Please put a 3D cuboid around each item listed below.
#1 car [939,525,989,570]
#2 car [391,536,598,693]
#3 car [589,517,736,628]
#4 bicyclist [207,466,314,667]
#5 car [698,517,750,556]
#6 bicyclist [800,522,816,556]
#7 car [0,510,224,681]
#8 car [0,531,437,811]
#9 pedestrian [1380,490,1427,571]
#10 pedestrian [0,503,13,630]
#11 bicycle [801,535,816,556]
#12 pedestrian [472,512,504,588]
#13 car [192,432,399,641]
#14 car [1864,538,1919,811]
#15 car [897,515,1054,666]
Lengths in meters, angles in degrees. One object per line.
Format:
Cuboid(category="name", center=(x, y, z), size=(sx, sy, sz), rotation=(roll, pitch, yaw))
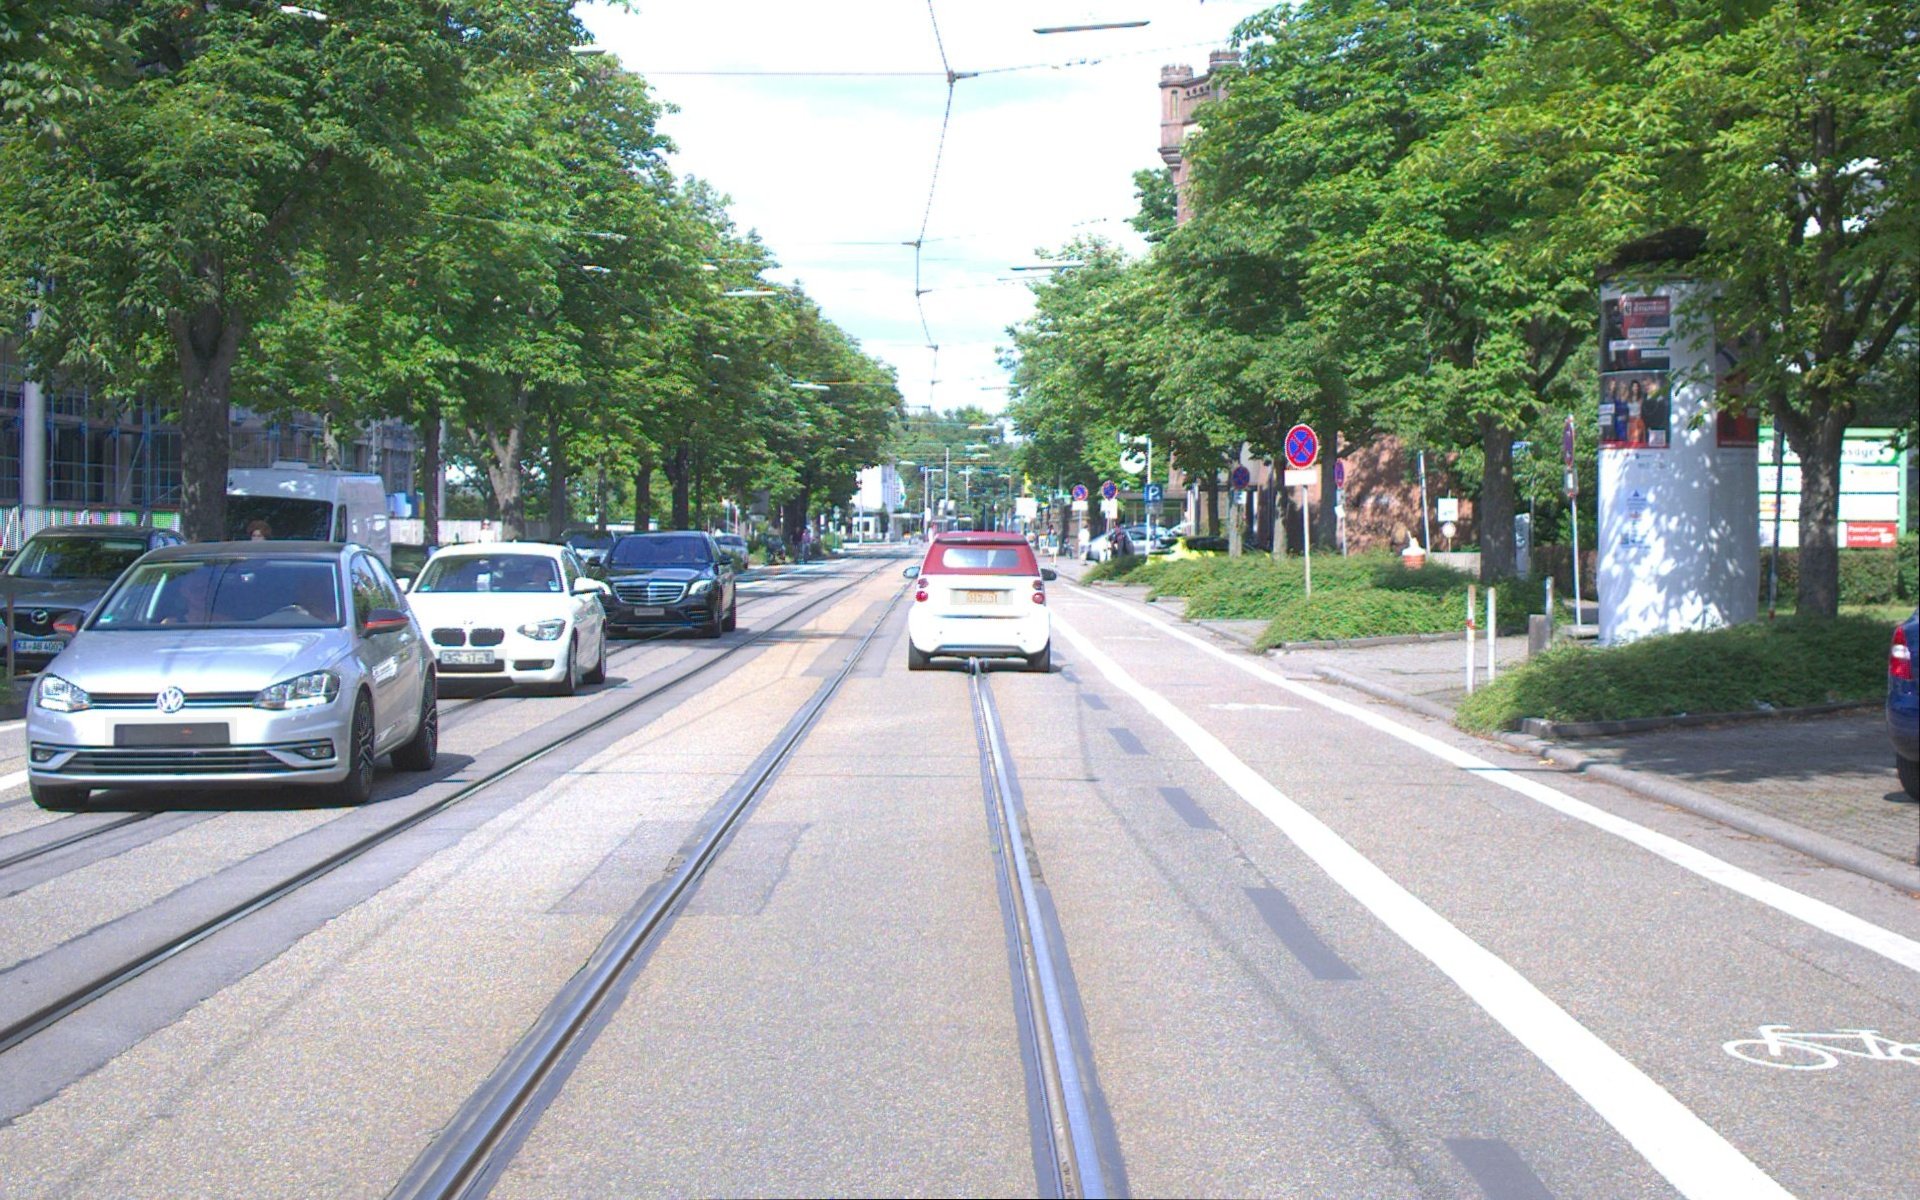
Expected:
Cuboid(category="car", center=(0.127, -1.847, 120.229), size=(1.665, 1.487, 3.621), rotation=(0, 2, -1))
Cuboid(category="car", center=(-4.360, 0.094, 32.709), size=(1.686, 1.401, 4.227), rotation=(0, 1, -4))
Cuboid(category="car", center=(-4.260, -0.421, 49.778), size=(1.800, 1.503, 4.536), rotation=(1, 1, -1))
Cuboid(category="bicyclist", center=(-7.131, -0.339, 35.071), size=(0.876, 2.007, 0.834), rotation=(-2, 0, -1))
Cuboid(category="car", center=(-9.279, -2.501, 135.406), size=(1.804, 1.511, 4.103), rotation=(1, 1, 0))
Cuboid(category="bicyclist", center=(-7.164, -2.888, 162.146), size=(0.658, 1.574, 0.946), rotation=(2, 1, -2))
Cuboid(category="car", center=(-9.114, -0.085, 36.240), size=(1.804, 1.656, 4.103), rotation=(2, 1, 0))
Cuboid(category="car", center=(-4.160, 0.337, 19.716), size=(1.773, 1.411, 3.852), rotation=(-1, 1, -1))
Cuboid(category="pedestrian", center=(11.211, -1.758, 86.971), size=(0.977, 2.007, 1.093), rotation=(2, 1, -1))
Cuboid(category="pedestrian", center=(-12.570, -0.442, 43.883), size=(0.764, 1.614, 0.594), rotation=(2, 1, 0))
Cuboid(category="bicycle", center=(-7.156, -2.594, 162.302), size=(0.618, 0.970, 1.717), rotation=(1, 1, 1))
Cuboid(category="pedestrian", center=(-12.531, -1.334, 91.224), size=(0.802, 2.007, 0.485), rotation=(0, 1, -9))
Cuboid(category="car", center=(-8.988, -0.864, 46.902), size=(1.769, 2.630, 5.323), rotation=(2, 1, 0))
Cuboid(category="car", center=(6.950, 0.358, 19.780), size=(1.615, 1.481, 3.990), rotation=(0, 2, 44))
Cuboid(category="car", center=(0.134, -0.146, 39.135), size=(1.665, 1.619, 3.621), rotation=(0, 2, -2))
